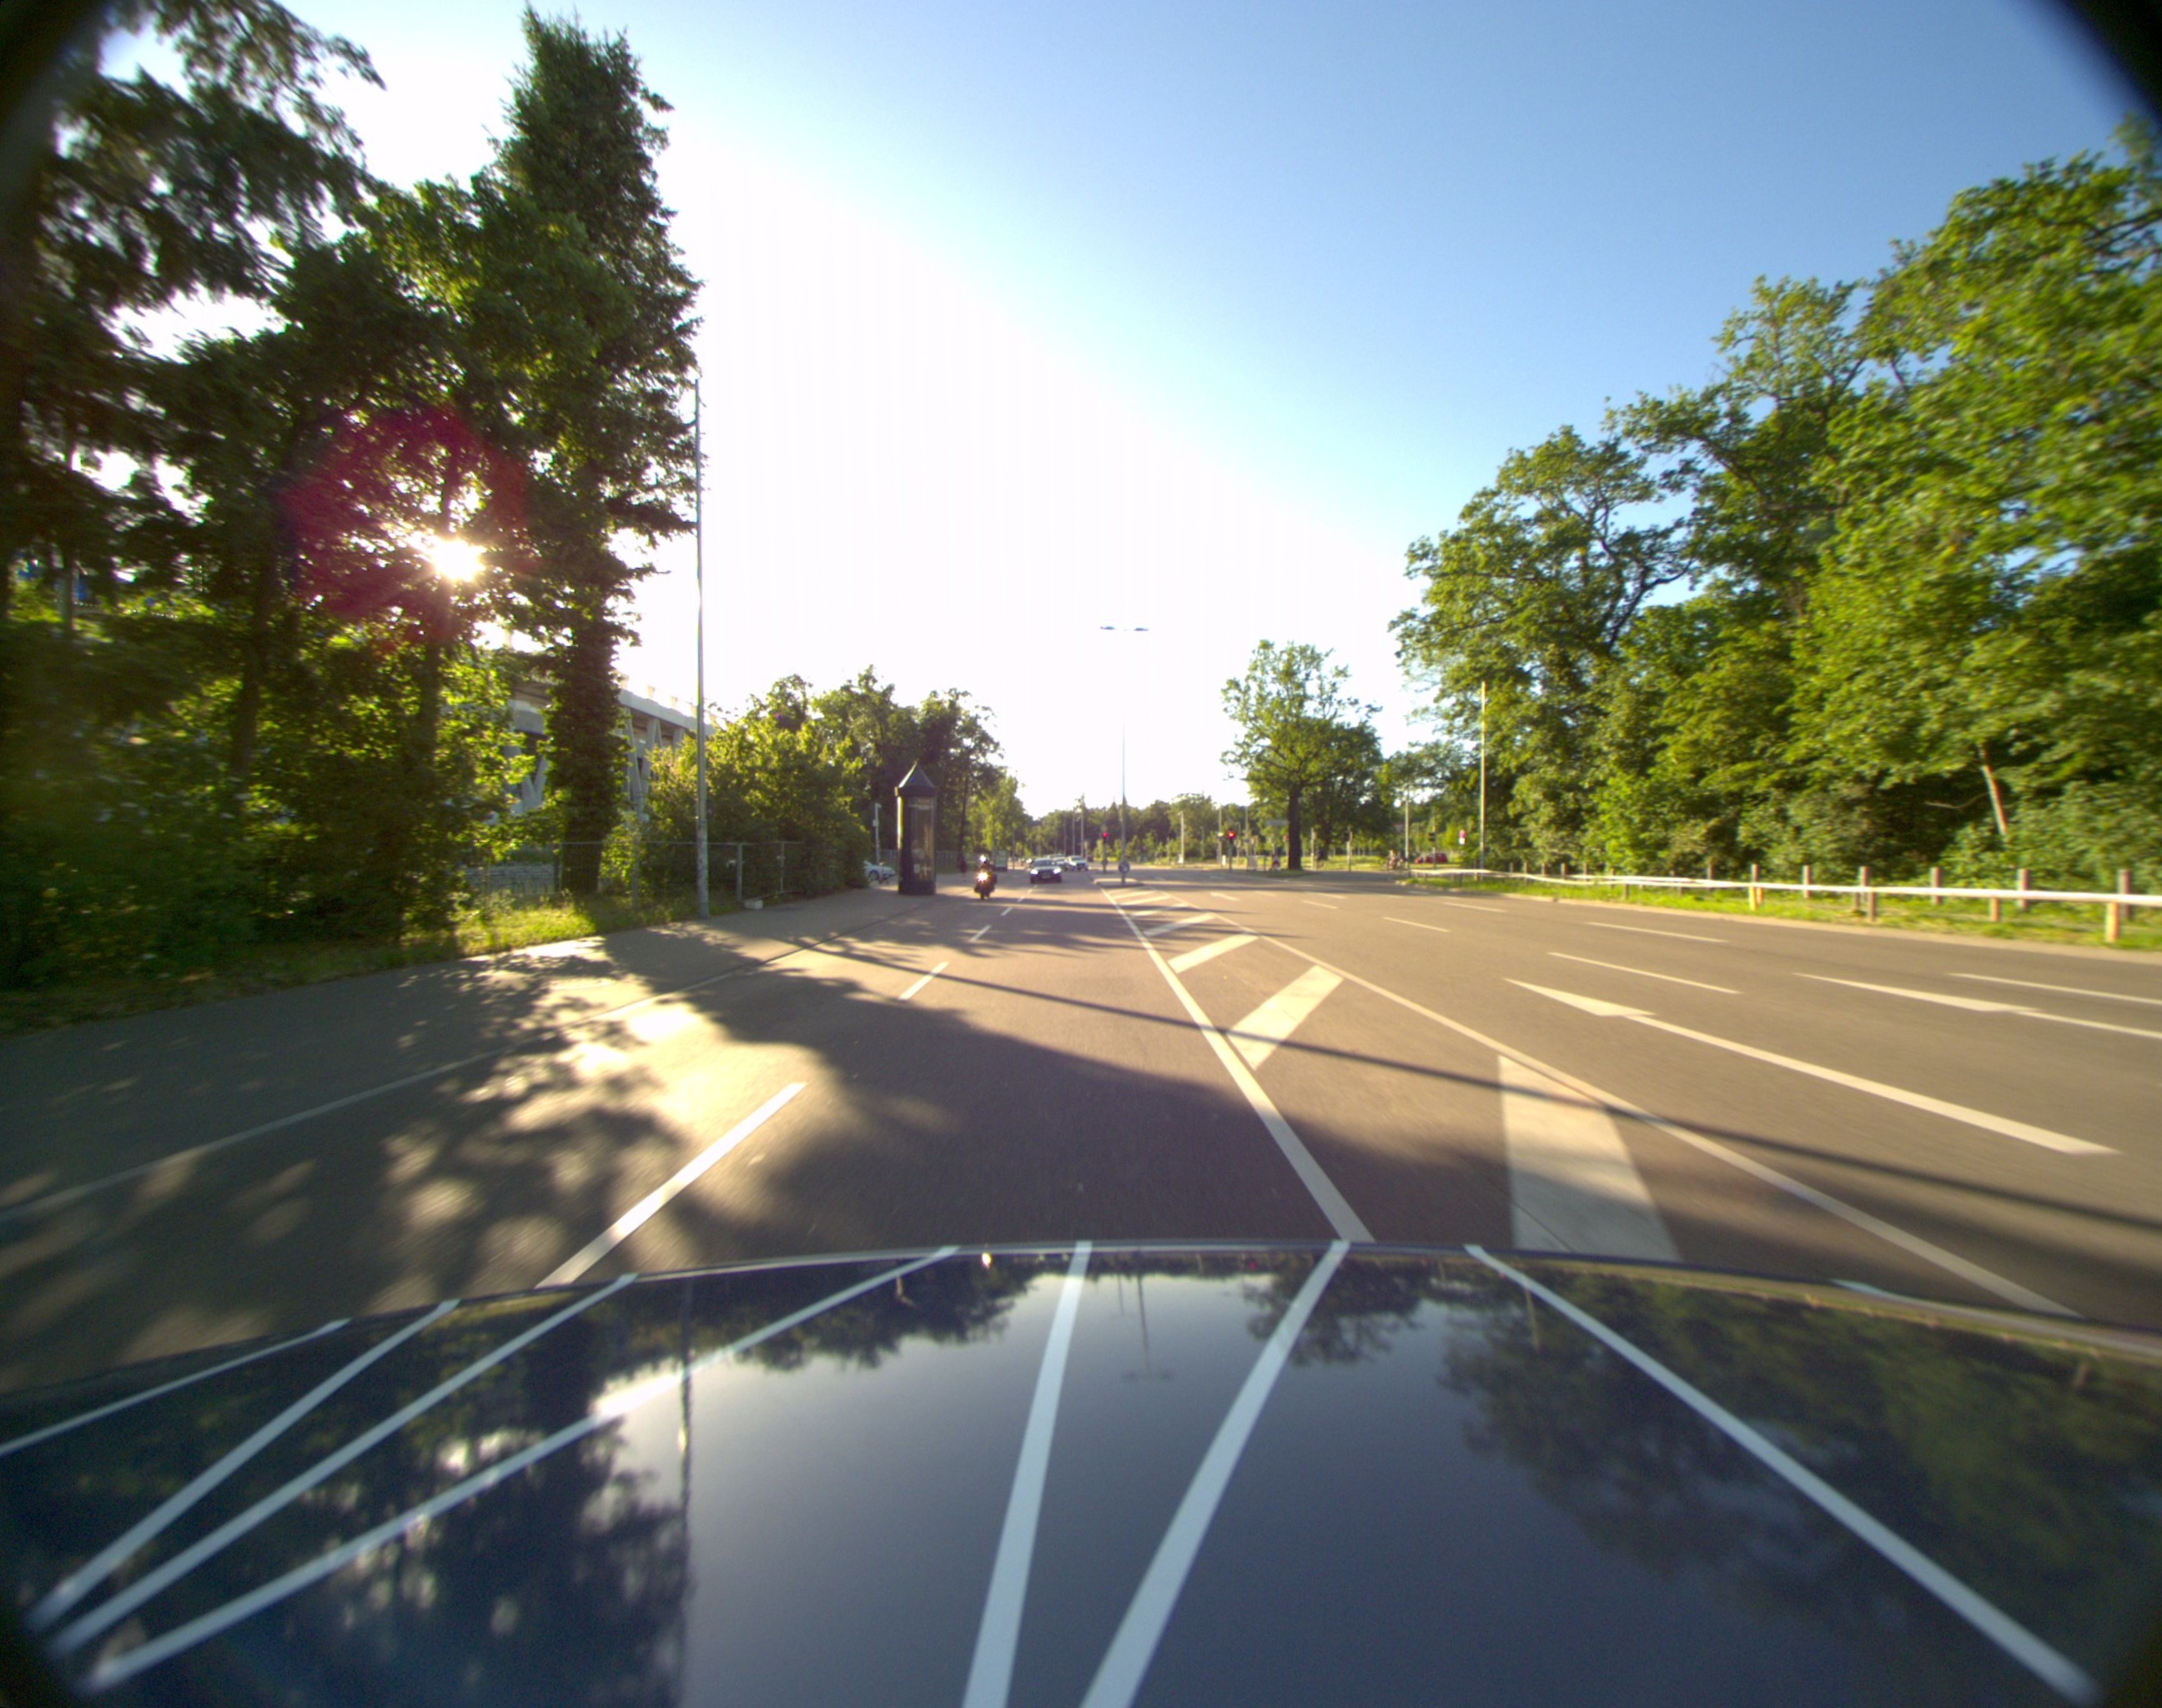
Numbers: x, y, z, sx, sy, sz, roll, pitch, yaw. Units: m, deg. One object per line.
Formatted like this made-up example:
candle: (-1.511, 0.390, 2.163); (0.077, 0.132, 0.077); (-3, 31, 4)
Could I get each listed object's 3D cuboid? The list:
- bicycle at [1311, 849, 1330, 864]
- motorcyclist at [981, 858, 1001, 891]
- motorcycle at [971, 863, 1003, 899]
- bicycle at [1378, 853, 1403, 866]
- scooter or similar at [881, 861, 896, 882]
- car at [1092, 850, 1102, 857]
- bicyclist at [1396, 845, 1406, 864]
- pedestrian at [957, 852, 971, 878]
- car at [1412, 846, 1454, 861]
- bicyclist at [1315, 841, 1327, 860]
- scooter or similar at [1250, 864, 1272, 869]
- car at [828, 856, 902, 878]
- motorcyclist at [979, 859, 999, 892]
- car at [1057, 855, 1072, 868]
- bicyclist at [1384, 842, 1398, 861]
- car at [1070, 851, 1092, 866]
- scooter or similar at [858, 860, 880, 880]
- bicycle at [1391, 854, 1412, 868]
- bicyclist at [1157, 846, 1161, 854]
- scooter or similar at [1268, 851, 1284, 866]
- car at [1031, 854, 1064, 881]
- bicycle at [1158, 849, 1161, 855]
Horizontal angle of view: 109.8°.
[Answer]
bicycle: (19.299, 0.199, 61.295); (0.682, 1.147, 1.983); (-1, -1, -7)
motorcyclist: (-3.598, 0.814, 30.360); (0.671, 1.257, 0.825); (-2, 1, -3)
motorcycle: (-3.611, 1.019, 29.541); (0.916, 1.243, 2.961); (-4, 0, -3)
bicycle: (24.109, 0.434, 59.169); (1.586, 0.971, 0.786); (-2, 1, 38)
scooter or similar: (-10.878, 0.969, 42.987); (0.281, 1.164, 1.410); (1, 0, 7)
car: (3.714, -0.087, 179.657); (1.891, 1.544, 4.570); (-2, 0, -5)
bicyclist: (23.930, 0.057, 56.880); (0.528, 1.392, 0.520); (-1, 1, 38)
pedestrian: (-7.769, 0.751, 50.589); (0.627, 1.678, 0.883); (-2, 1, 7)
car: (39.321, -0.054, 84.943); (3.992, 1.501, 1.659); (-2, 1, 18)
bicyclist: (19.309, -0.272, 61.074); (0.564, 1.542, 0.800); (-1, -1, -7)
scooter or similar: (13.422, 0.925, 56.734); (1.410, 0.337, 1.261); (-1, -1, 6)
car: (-14.440, 0.866, 50.969); (4.380, 1.370, 1.821); (1, 1, 6)
motorcyclist: (-3.568, 0.819, 29.460); (0.671, 1.257, 0.825); (-2, 1, -3)
car: (-1.963, 0.898, 90.170); (1.661, 1.418, 4.317); (-2, 0, -3)
bicyclist: (24.144, -0.188, 59.117); (0.798, 1.474, 0.731); (-1, 1, 38)
car: (-0.051, 0.491, 79.984); (1.839, 1.504, 4.297); (-2, 0, -6)
scooter or similar: (-12.938, 0.962, 46.392); (1.268, 1.140, 0.394); (1, 2, 6)
bicycle: (23.962, 0.535, 56.877); (1.351, 0.971, 0.523); (-2, 1, 38)
bicyclist: (15.618, -0.820, 152.583); (0.682, 1.602, 0.800); (-2, 1, 5)
scooter or similar: (14.217, 0.335, 55.494); (1.069, 1.140, 0.394); (-1, 0, 6)
car: (-2.086, 0.769, 46.528); (1.868, 1.538, 4.794); (-2, 0, -4)
bicycle: (15.686, -0.403, 152.673); (0.494, 1.230, 1.795); (-2, 1, 4)
